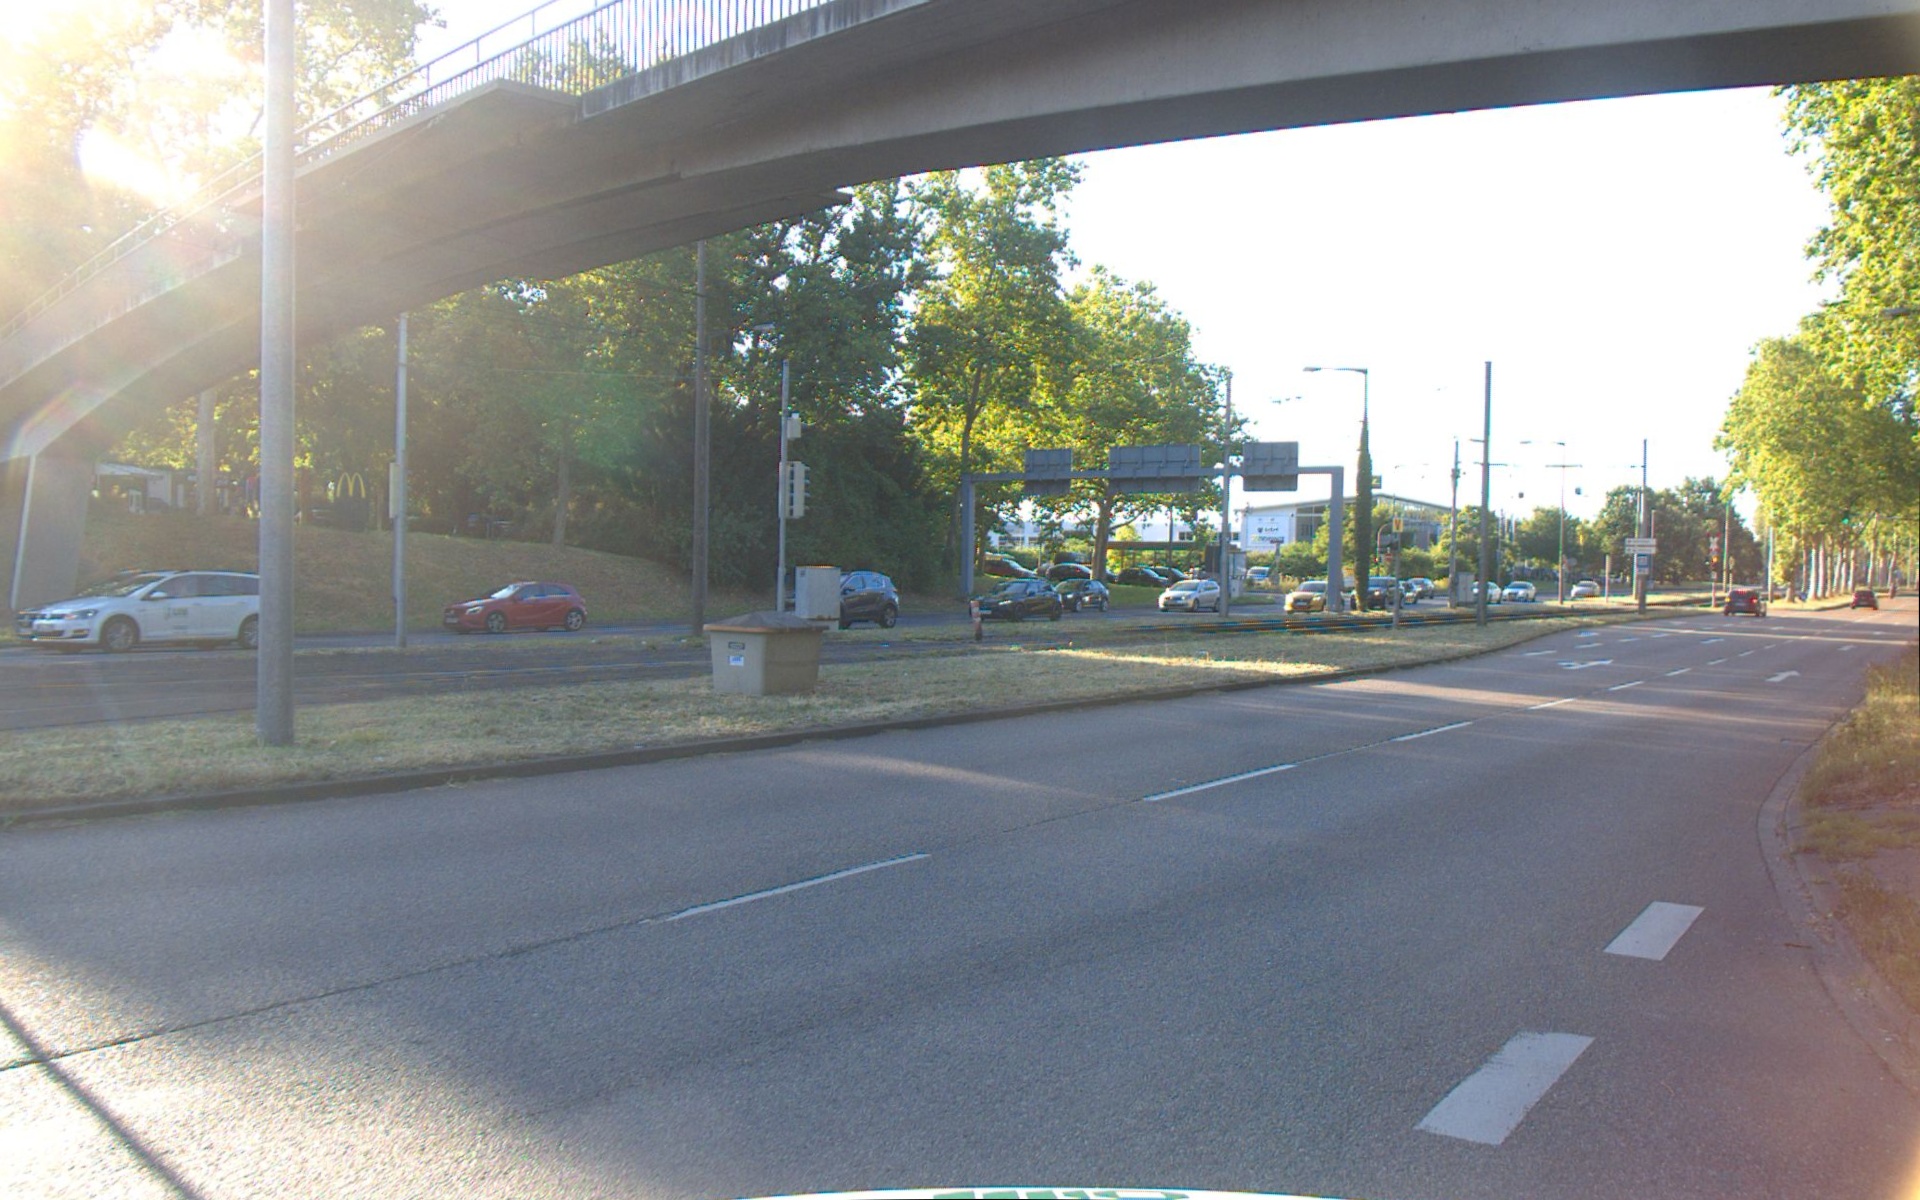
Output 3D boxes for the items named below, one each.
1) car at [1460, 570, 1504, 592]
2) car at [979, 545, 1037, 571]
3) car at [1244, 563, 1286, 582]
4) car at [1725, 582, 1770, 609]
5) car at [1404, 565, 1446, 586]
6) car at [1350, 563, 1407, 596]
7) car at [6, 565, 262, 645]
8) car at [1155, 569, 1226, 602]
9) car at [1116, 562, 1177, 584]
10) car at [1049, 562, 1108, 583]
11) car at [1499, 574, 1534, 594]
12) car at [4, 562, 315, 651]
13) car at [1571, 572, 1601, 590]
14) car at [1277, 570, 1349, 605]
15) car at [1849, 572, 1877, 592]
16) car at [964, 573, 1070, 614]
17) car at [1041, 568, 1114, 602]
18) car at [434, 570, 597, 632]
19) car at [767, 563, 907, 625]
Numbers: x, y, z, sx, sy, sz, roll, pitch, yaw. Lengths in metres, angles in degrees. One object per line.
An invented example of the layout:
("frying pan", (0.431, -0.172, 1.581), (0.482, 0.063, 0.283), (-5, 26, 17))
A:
("car", (34.994, -1.262, 110.848), (1.804, 1.440, 4.591), (1, 1, 30))
("car", (3.654, -3.165, 125.147), (3.919, 1.892, 1.993), (2, 2, 35))
("car", (24.925, -2.271, 135.088), (1.810, 1.467, 3.987), (3, 2, 34))
("car", (42.878, -0.259, 90.009), (1.760, 1.427, 3.679), (1, 1, 33))
("car", (34.445, -1.812, 122.517), (1.805, 1.507, 4.590), (3, 2, 31))
("car", (22.853, -1.124, 90.201), (1.805, 1.683, 4.426), (3, 2, 31))
("car", (-16.639, 0.081, 33.519), (1.970, 1.469, 4.241), (2, 1, 33))
("car", (10.882, -0.670, 77.853), (1.656, 1.440, 4.427), (2, 1, 32))
("car", (13.414, -1.923, 118.989), (3.991, 1.411, 1.776), (3, 2, 39))
("car", (8.716, -2.019, 122.115), (3.984, 1.411, 1.779), (3, 2, 34))
("car", (41.564, -1.184, 123.403), (1.623, 1.440, 4.250), (2, 2, 30))
("car", (-14.578, 0.096, 30.415), (1.970, 1.469, 4.847), (2, 1, 33))
("car", (53.670, -1.643, 141.839), (1.623, 1.440, 4.249), (2, 2, 31))
("car", (15.654, -0.551, 73.274), (1.806, 1.440, 4.007), (2, 1, 33))
("car", (68.625, -1.339, 125.725), (1.759, 1.427, 3.683), (2, 1, 29))
("car", (2.022, -0.226, 57.151), (1.657, 1.333, 4.296), (2, 1, 34))
("car", (5.437, -0.679, 75.927), (1.655, 1.440, 4.184), (2, 1, 30))
("car", (-12.661, 0.016, 47.317), (1.761, 1.679, 4.339), (1, 1, 37))
("car", (-3.496, -0.177, 47.637), (1.759, 1.679, 4.345), (2, 1, 33))
